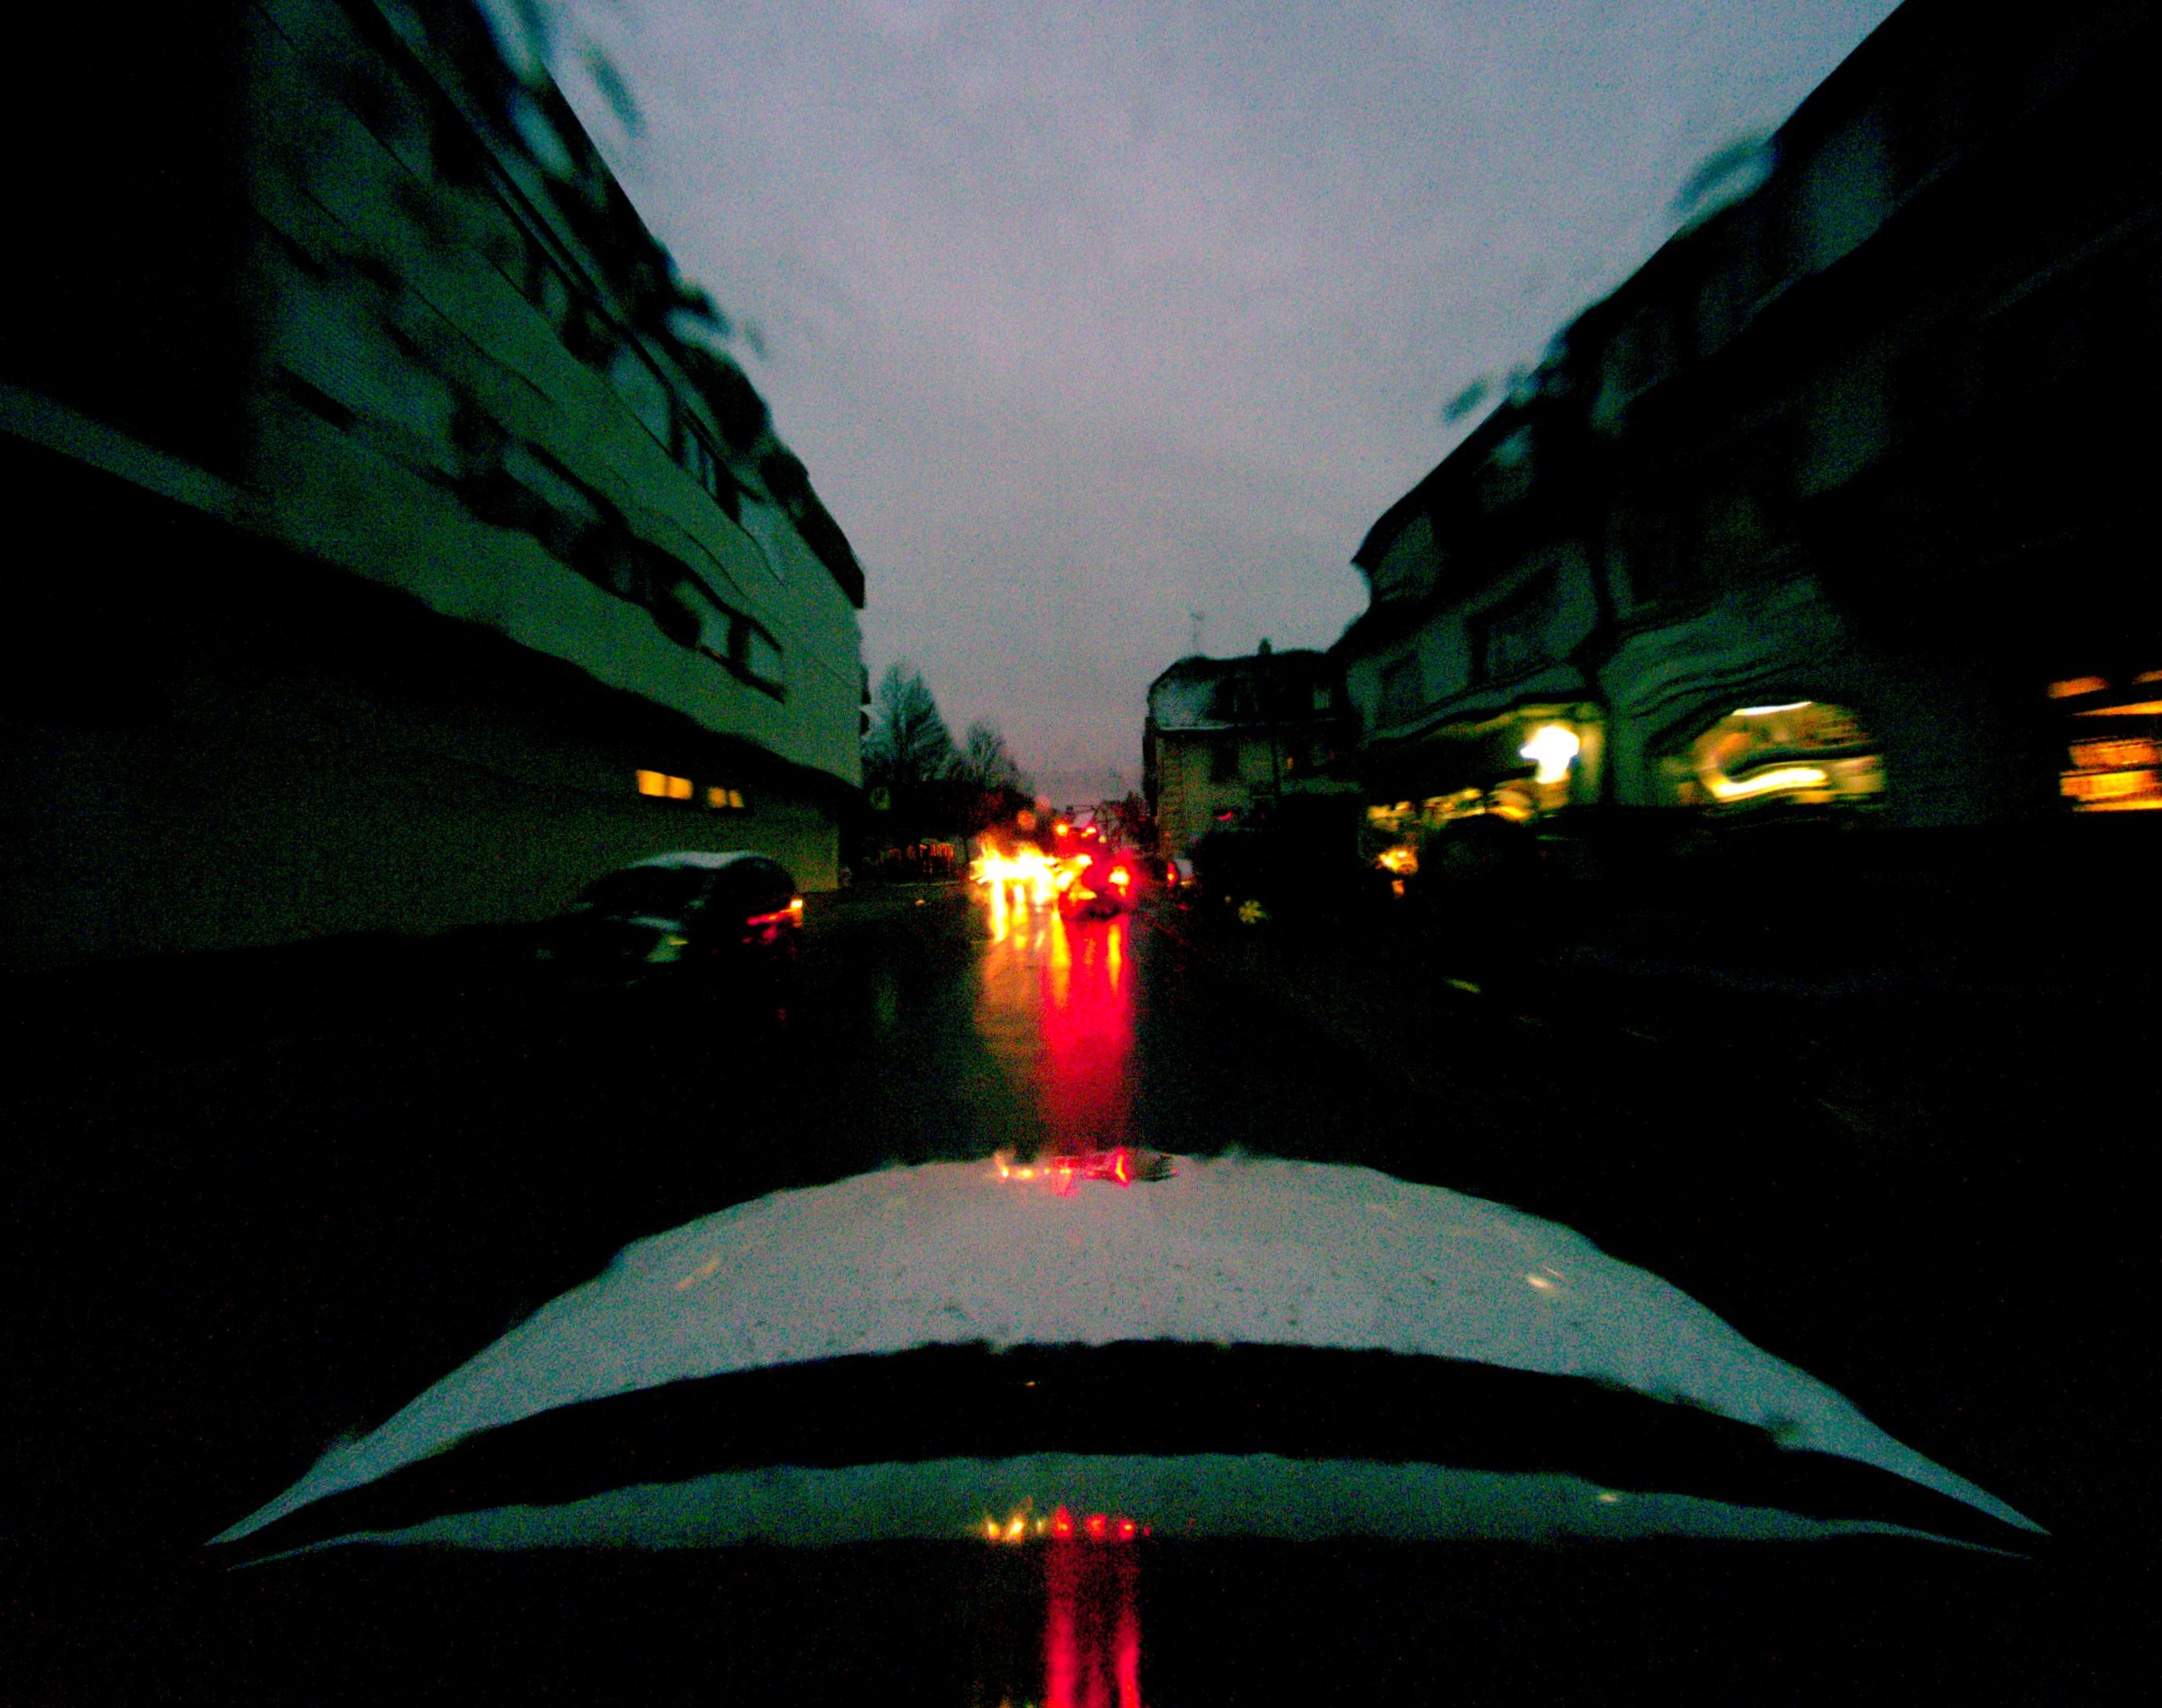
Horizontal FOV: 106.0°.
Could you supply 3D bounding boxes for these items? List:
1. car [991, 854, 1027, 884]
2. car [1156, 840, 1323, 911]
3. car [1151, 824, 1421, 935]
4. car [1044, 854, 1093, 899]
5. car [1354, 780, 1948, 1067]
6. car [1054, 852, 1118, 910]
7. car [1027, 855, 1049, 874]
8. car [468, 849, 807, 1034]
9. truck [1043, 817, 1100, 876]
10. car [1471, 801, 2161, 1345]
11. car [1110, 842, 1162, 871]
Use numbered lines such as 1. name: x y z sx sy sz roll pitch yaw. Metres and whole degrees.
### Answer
1. car: -3.866 0.764 44.142 1.633 1.535 3.405 -1 0 0
2. car: 4.018 0.527 20.978 3.865 1.579 1.678 -2 0 -7
3. car: 3.798 0.437 15.588 4.597 1.775 1.941 -3 0 -6
4. car: -0.425 0.762 29.275 1.633 1.481 3.270 -1 0 -1
5. car: 4.223 0.433 6.368 3.500 1.680 1.712 -4 0 -7
6. car: 0.108 0.705 22.829 1.633 1.481 3.377 -1 0 -1
7. car: -3.864 0.893 74.225 1.806 1.596 4.397 -2 0 -1
8. car: -4.641 0.783 9.264 1.789 1.642 3.810 -1 0 -1
9. truck: -0.700 -0.404 48.205 3.009 3.128 7.990 -1 0 -3
10. car: 4.323 0.545 3.402 4.456 1.473 1.896 -3 0 -3
11. car: 4.453 0.190 65.404 4.077 2.163 1.916 -1 0 5
